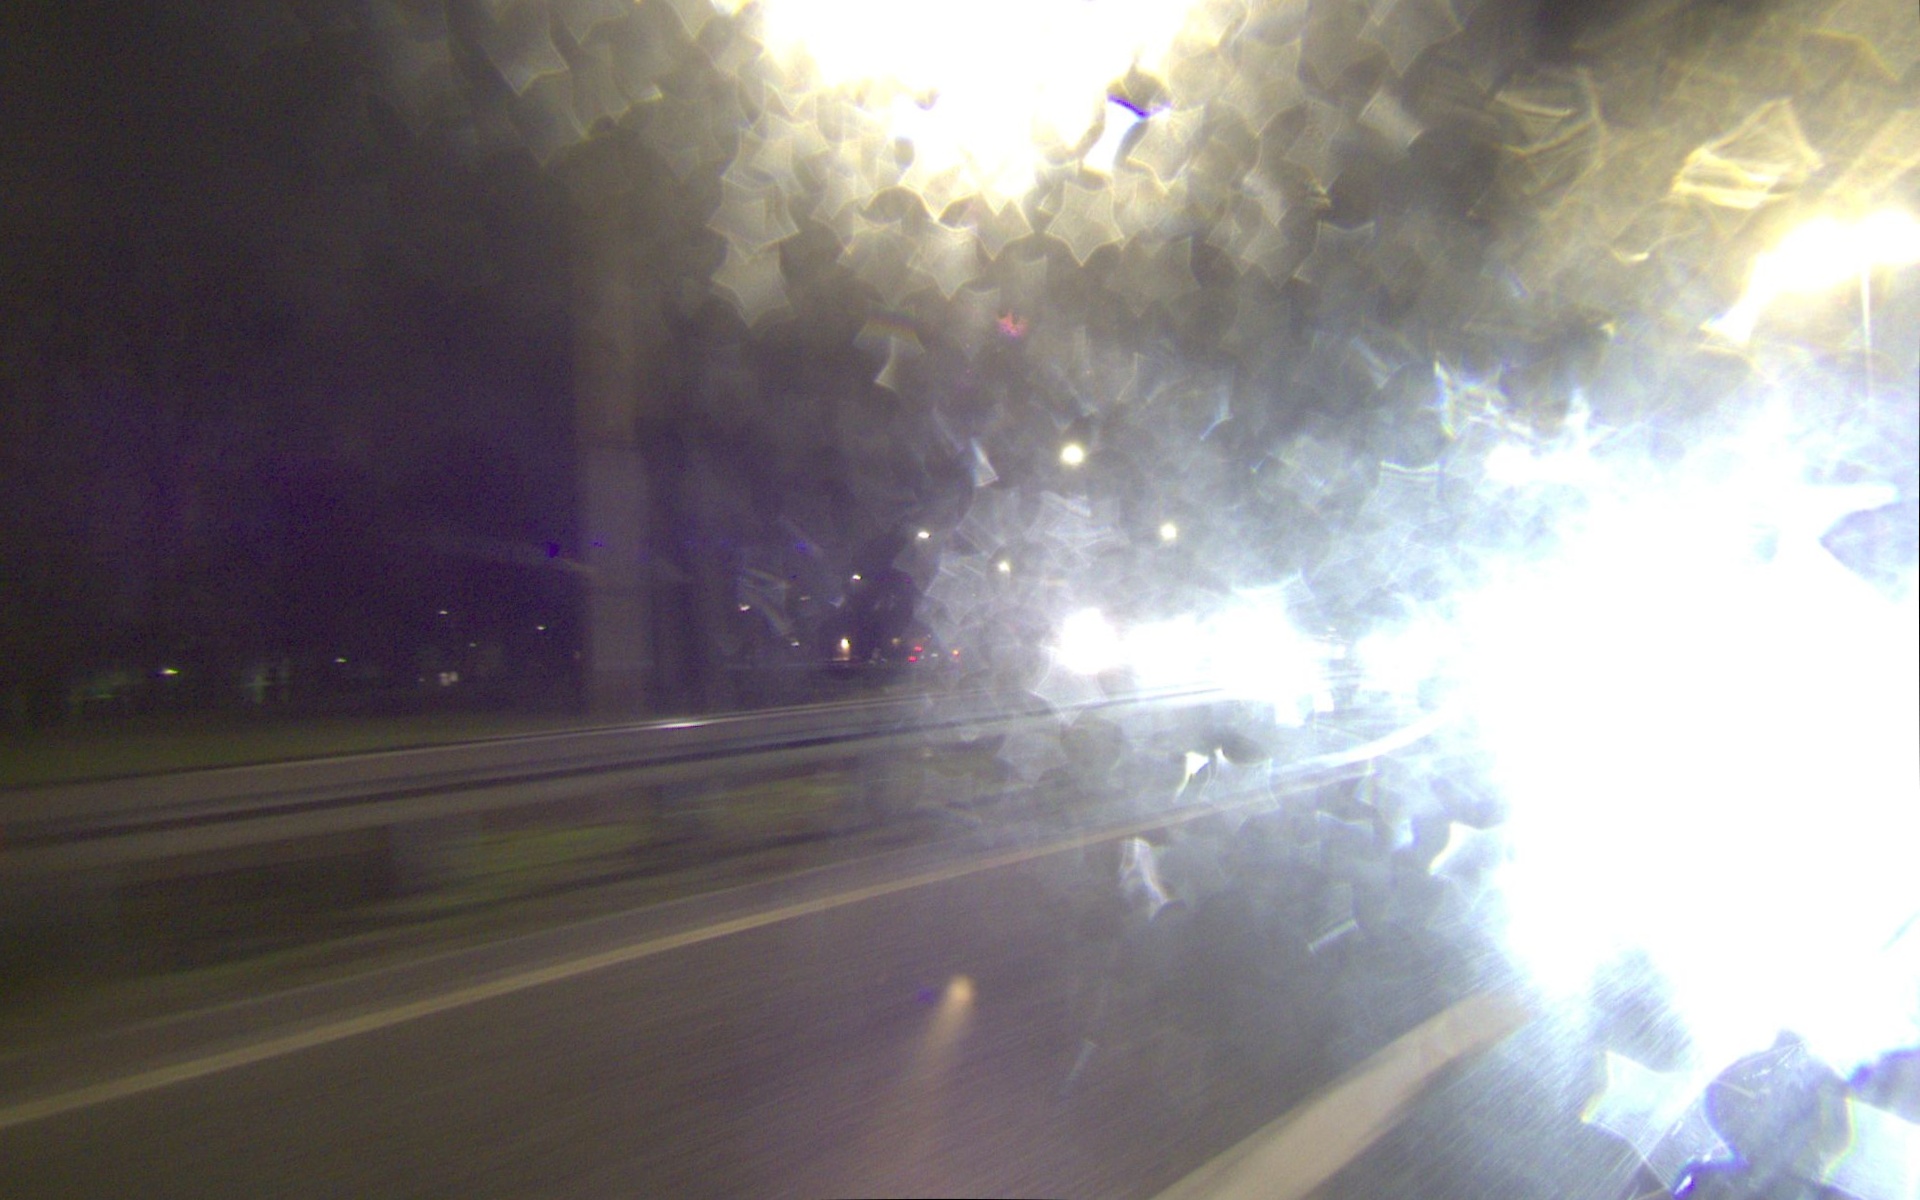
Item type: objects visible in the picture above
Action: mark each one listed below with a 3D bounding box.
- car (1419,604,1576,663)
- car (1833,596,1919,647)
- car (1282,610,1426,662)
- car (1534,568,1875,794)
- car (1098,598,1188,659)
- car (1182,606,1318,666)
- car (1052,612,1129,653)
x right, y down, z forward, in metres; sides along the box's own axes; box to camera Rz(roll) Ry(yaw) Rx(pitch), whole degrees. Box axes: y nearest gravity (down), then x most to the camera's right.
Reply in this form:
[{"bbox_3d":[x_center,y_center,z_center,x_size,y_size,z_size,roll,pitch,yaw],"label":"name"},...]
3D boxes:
[{"bbox_3d":[16.489,0.972,31.314,1.958,1.660,4.127,0,0,-17],"label":"car"},{"bbox_3d":[33.121,0.746,34.842,4.219,1.720,1.982,0,-1,26],"label":"car"},{"bbox_3d":[12.241,1.069,31.826,1.958,1.426,4.555,0,0,-14],"label":"car"},{"bbox_3d":[7.396,0.595,9.896,4.167,1.736,1.925,0,1,-43],"label":"car"},{"bbox_3d":[6.861,1.127,38.397,1.728,2.039,4.005,-5,-2,-13],"label":"car"},{"bbox_3d":[8.952,1.062,31.710,1.958,1.660,4.792,0,0,-14],"label":"car"},{"bbox_3d":[5.729,1.411,44.958,1.958,1.661,4.354,-1,-1,-13],"label":"car"}]
